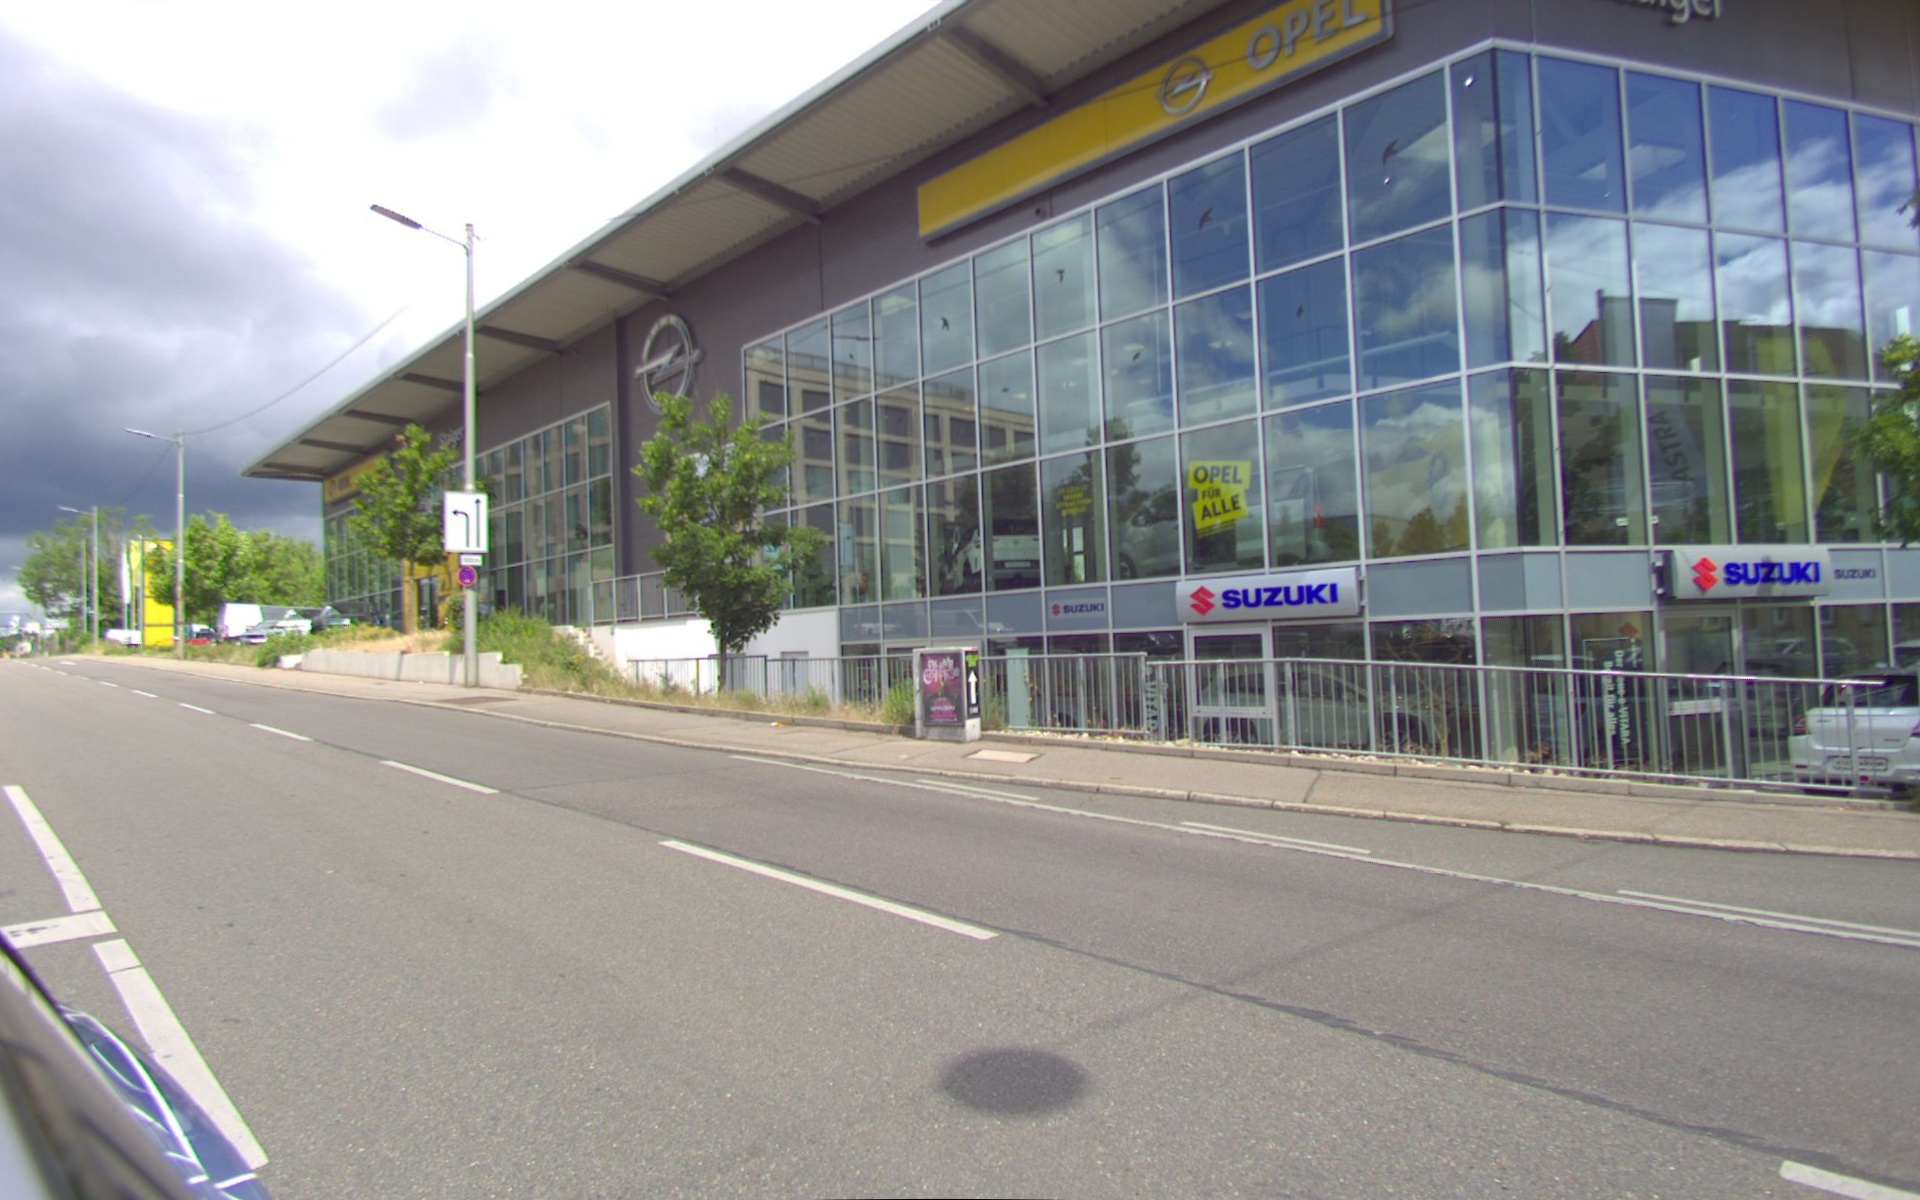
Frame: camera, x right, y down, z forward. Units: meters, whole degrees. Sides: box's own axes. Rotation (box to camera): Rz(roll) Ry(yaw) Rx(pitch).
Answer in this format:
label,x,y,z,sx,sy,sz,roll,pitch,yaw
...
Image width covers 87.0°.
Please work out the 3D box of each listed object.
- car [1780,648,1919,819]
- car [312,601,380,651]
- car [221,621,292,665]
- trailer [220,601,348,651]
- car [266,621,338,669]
label,x,y,z,sx,sy,sz,roll,pitch,yaw
car,11.194,1.368,10.965,3.624,1.587,1.760,0,0,-14
car,-22.540,0.953,37.285,1.966,1.741,4.012,1,-2,-29
car,-30.482,1.810,43.972,1.965,1.807,4.013,0,-1,-27
trailer,-33.934,1.295,50.921,2.000,2.367,5.007,-1,-2,42
car,-26.251,1.763,40.494,1.965,1.807,4.013,1,-2,-27
